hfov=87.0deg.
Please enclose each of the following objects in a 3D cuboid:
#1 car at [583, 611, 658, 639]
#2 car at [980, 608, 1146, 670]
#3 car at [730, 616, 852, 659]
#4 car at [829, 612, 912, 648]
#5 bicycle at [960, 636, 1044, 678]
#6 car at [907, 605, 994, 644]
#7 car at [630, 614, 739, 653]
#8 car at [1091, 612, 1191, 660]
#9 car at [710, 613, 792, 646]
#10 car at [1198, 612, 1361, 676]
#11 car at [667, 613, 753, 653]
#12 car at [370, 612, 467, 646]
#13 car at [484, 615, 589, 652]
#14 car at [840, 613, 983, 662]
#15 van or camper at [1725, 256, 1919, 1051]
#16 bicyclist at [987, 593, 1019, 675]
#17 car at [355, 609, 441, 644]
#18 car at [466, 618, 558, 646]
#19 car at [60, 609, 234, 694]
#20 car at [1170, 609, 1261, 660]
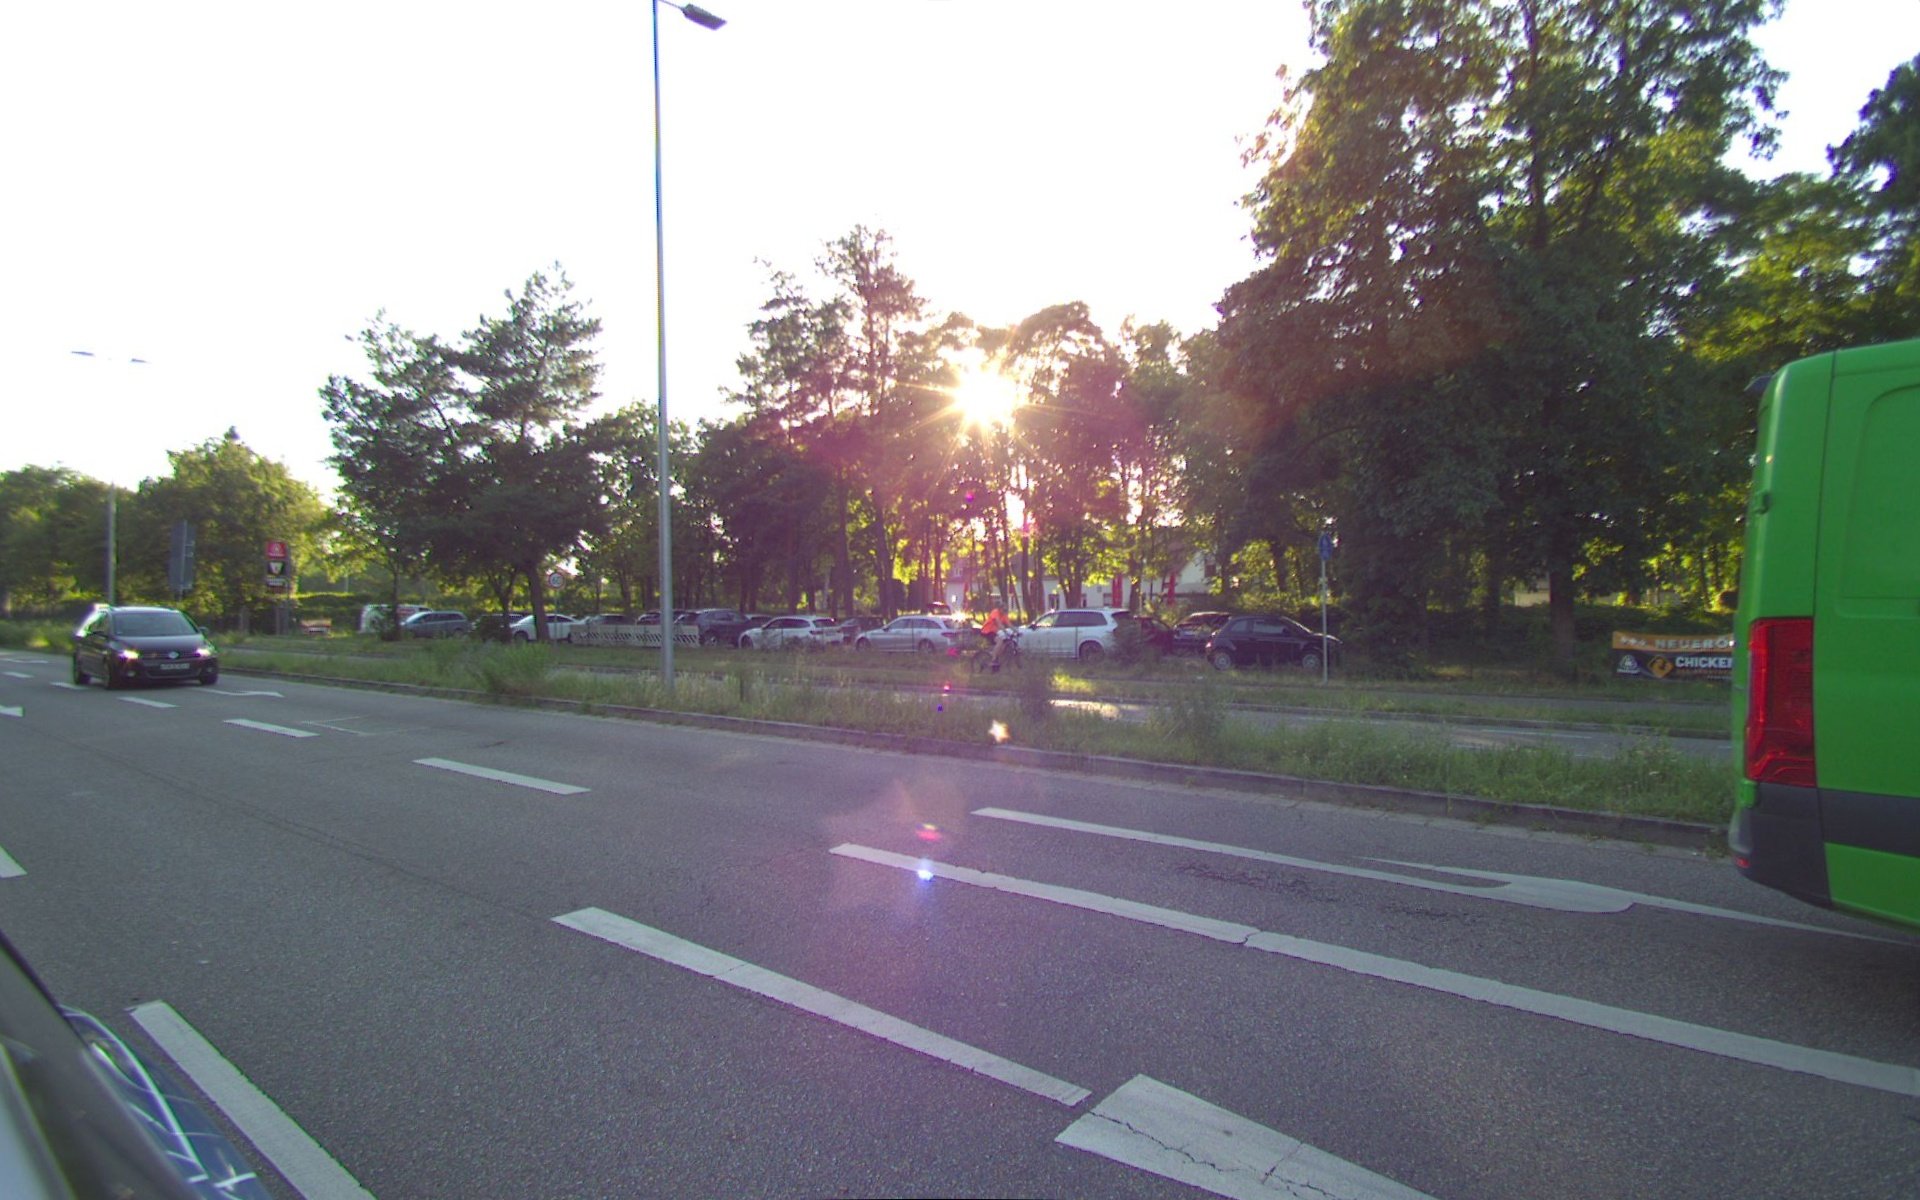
[{"bbox_3d":[-20.496,1.515,61.243,1.765,1.663,3.947,-1,-2,40],"label":"car"},{"bbox_3d":[3.174,1.182,31.810,4.913,1.800,1.975,-1,-2,37],"label":"car"},{"bbox_3d":[-6.604,1.421,39.299,4.701,1.560,1.975,-1,-2,37],"label":"car"},{"bbox_3d":[-4.319,1.457,49.052,1.765,1.663,3.947,-1,-2,39],"label":"car"},{"bbox_3d":[0.974,1.327,23.912,2.038,0.940,0.488,-1,-2,33],"label":"bicycle"},{"bbox_3d":[-0.385,1.109,45.117,1.765,1.663,3.947,-1,-2,39],"label":"car"},{"bbox_3d":[-11.890,1.424,43.957,1.769,1.629,4.470,-1,-2,37],"label":"car"},{"bbox_3d":[6.824,1.317,37.851,1.918,1.663,3.944,-1,-2,42],"label":"car"},{"bbox_3d":[-10.901,1.528,52.953,1.765,1.663,3.947,-1,-2,40],"label":"car"},{"bbox_3d":[8.573,1.151,27.254,3.807,1.609,1.838,-1,-2,36],"label":"car"},{"bbox_3d":[-10.158,1.331,41.226,1.657,1.538,3.060,-1,-2,38],"label":"car"},{"bbox_3d":[-30.261,1.614,56.655,1.907,1.811,4.443,-1,-2,38],"label":"car"},{"bbox_3d":[-20.802,1.630,49.849,1.908,1.767,4.441,-1,-2,39],"label":"car"},{"bbox_3d":[-1.745,1.292,35.596,4.913,1.619,1.975,-1,-2,37],"label":"car"},{"bbox_3d":[5.471,0.139,2.269,5.891,2.439,1.973,-1,-2,40],"label":"van or camper"},{"bbox_3d":[1.021,0.798,23.901,0.616,1.888,0.454,-1,-2,33],"label":"bicyclist"},{"bbox_3d":[-32.537,1.525,58.675,1.764,1.959,3.949,-1,-2,38],"label":"car"},{"bbox_3d":[-22.618,1.603,51.187,1.731,1.322,3.947,-1,-2,39],"label":"car"},{"bbox_3d":[-16.557,0.983,20.562,3.996,1.564,1.974,-1,-2,39],"label":"car"},{"bbox_3d":[9.001,1.179,35.448,1.914,1.663,3.954,-1,-2,34],"label":"car"}]
